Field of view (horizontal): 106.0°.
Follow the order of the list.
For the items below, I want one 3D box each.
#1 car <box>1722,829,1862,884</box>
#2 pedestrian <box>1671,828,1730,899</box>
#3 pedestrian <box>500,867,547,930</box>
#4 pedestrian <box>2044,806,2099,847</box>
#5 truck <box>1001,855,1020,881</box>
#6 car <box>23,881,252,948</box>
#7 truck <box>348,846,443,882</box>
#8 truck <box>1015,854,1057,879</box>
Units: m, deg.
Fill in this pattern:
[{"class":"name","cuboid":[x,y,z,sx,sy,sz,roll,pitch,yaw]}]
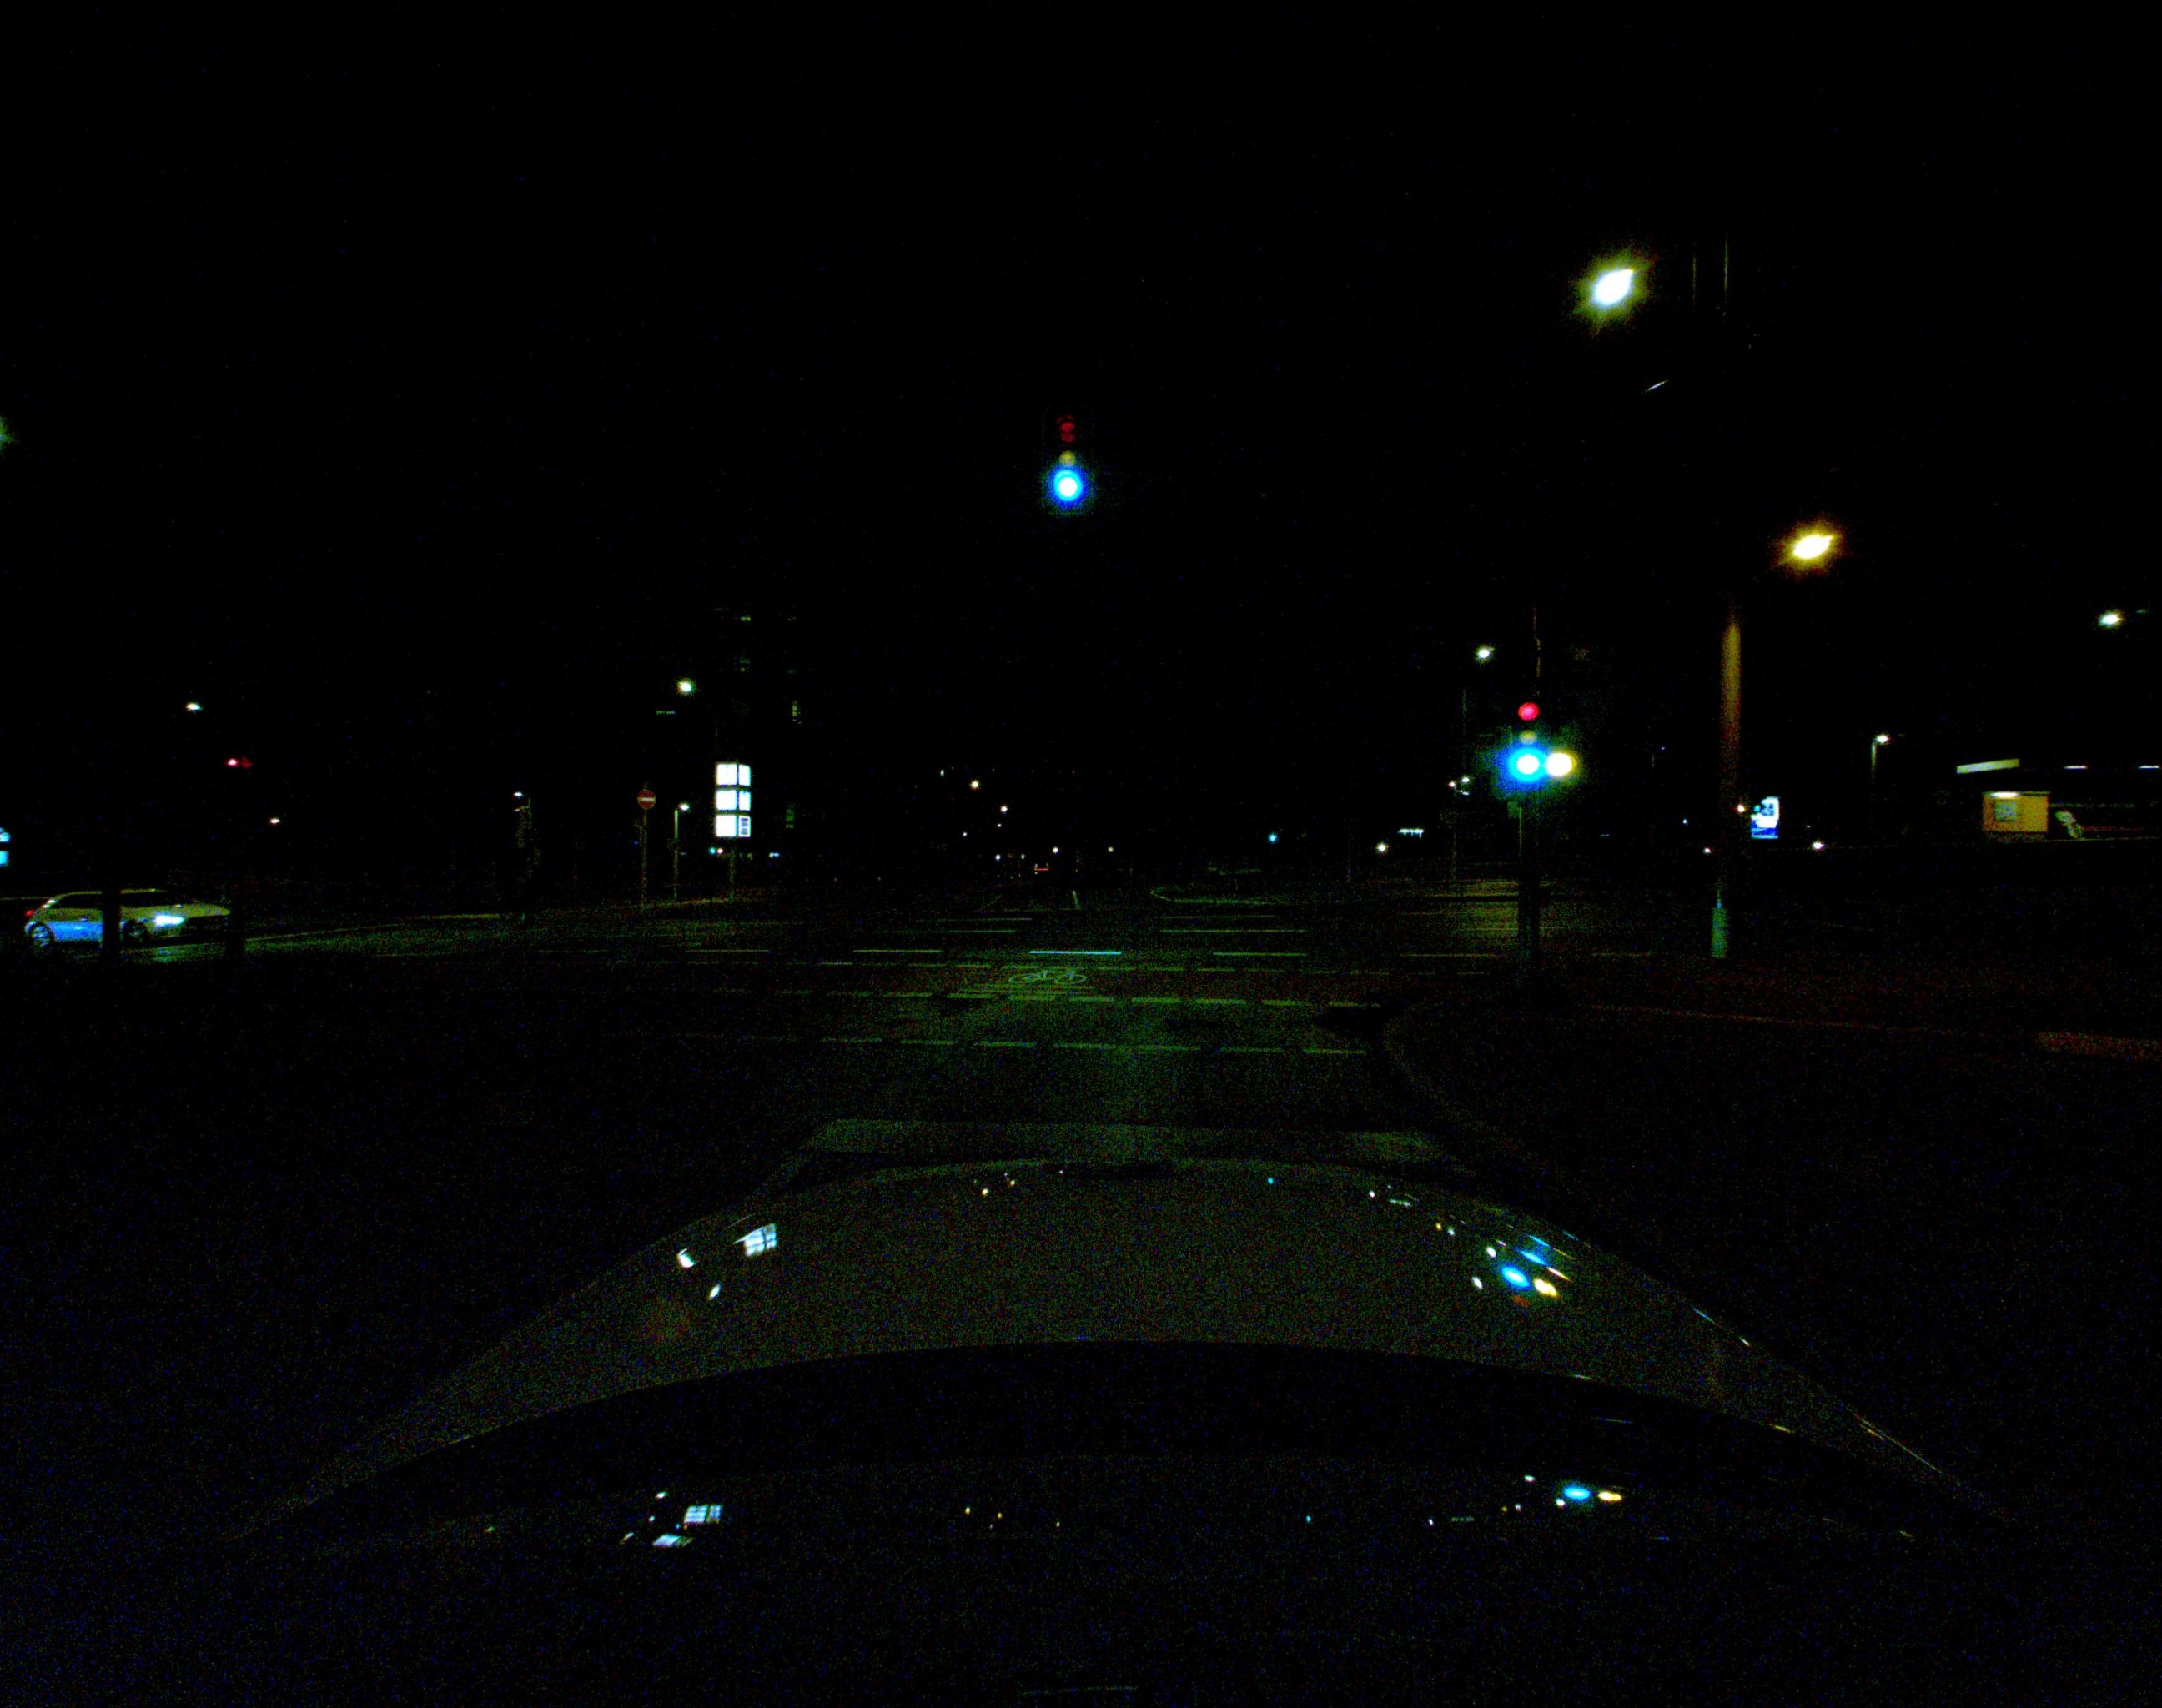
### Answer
[{"class":"car","cuboid":[30.009,0.127,34.484,3.966,2.014,2.003,-4,-1,6]},{"class":"pedestrian","cuboid":[15.904,0.241,20.922,0.752,1.745,0.834,-4,-2,1]},{"class":"pedestrian","cuboid":[-14.788,1.164,21.630,0.667,1.634,0.862,0,-1,-3]},{"class":"pedestrian","cuboid":[38.222,-1.040,31.450,1.131,1.500,1.084,-3,-2,41]},{"class":"truck","cuboid":[-10.424,1.986,119.513,2.580,3.707,5.723,0,-1,-7]},{"class":"car","cuboid":[-24.244,1.541,21.005,4.163,1.502,1.823,-2,0,7]},{"class":"truck","cuboid":[-59.866,0.863,71.167,5.873,3.088,2.915,0,-1,3]},{"class":"truck","cuboid":[-8.533,2.263,151.339,4.835,4.547,12.591,0,-1,-17]}]
